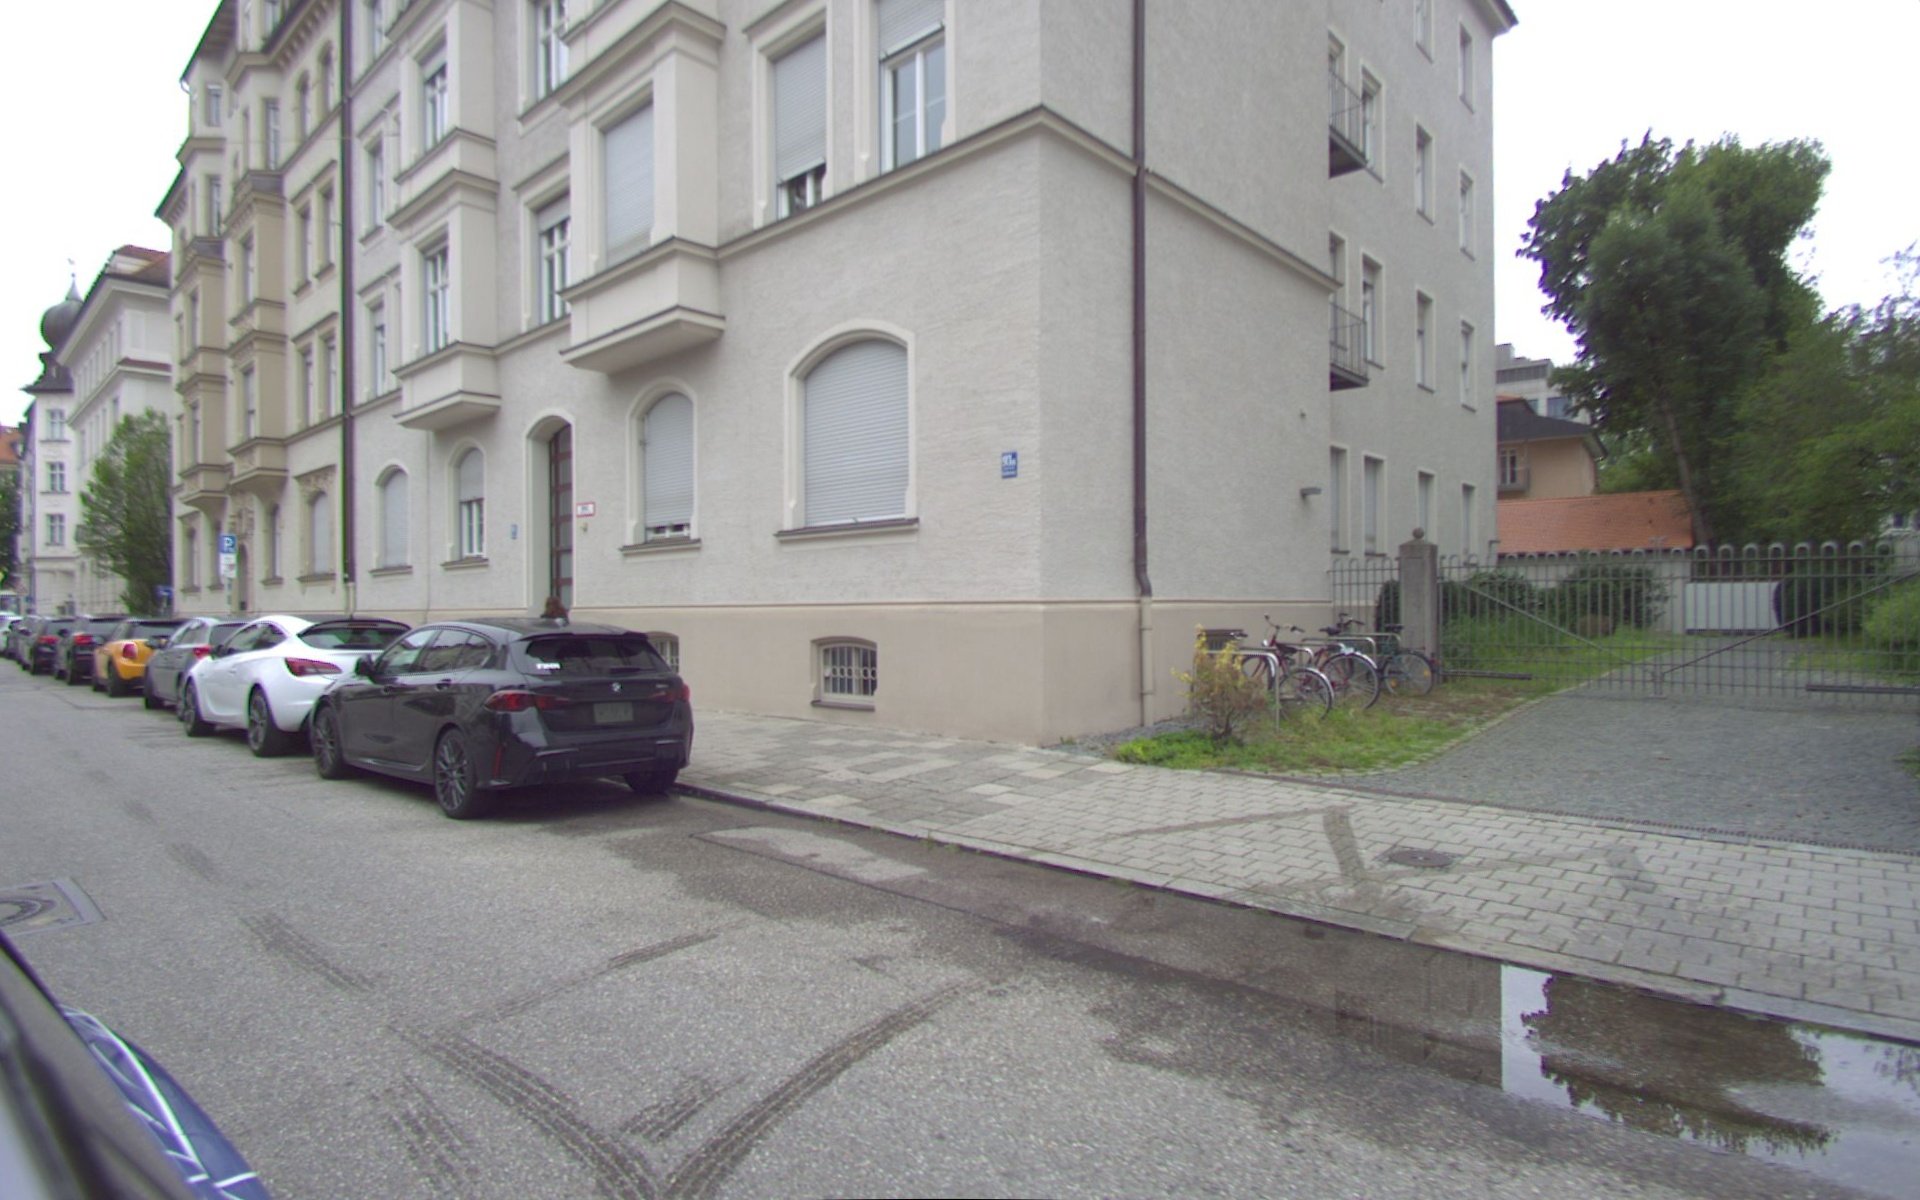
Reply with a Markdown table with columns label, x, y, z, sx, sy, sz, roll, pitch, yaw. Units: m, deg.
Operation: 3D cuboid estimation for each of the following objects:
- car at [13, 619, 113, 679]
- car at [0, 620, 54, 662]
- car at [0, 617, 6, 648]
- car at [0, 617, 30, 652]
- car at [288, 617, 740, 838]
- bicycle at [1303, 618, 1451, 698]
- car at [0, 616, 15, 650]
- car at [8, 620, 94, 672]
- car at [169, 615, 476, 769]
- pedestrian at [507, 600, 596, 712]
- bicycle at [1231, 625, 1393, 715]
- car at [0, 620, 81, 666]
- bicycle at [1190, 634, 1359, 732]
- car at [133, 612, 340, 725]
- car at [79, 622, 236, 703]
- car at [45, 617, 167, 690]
| label | x | y | z | sx | sy | sz | roll | pitch | yaw |
| --- | --- | --- | --- | --- | --- | --- | --- | --- | --- |
| car | -23.162 | 1.204 | 26.081 | 3.942 | 1.440 | 1.605 | -1 | -2 | 44 |
| car | -33.767 | 1.425 | 36.162 | 3.687 | 1.440 | 1.606 | -1 | -2 | 41 |
| car | -48.857 | 1.600 | 50.413 | 3.919 | 1.542 | 1.605 | -1 | -2 | 42 |
| car | -41.275 | 1.464 | 43.555 | 3.690 | 1.440 | 1.604 | -1 | -2 | 44 |
| car | -3.987 | 0.880 | 8.691 | 4.376 | 1.423 | 1.837 | -1 | -2 | 41 |
| bicycle | 5.479 | 0.735 | 13.375 | 0.442 | 0.992 | 1.781 | 0 | 0 | -42 |
| car | -44.903 | 1.520 | 46.674 | 3.688 | 1.542 | 1.605 | -1 | -2 | 42 |
| car | -26.607 | 1.298 | 29.594 | 3.589 | 1.440 | 1.605 | -1 | -2 | 44 |
| car | -7.563 | 0.926 | 11.833 | 4.376 | 1.474 | 1.837 | -1 | -2 | 41 |
| pedestrian | -6.158 | 0.812 | 15.248 | 1.052 | 1.620 | 0.864 | -1 | -1 | 42 |
| bicycle | 4.148 | 0.799 | 12.020 | 1.778 | 0.992 | 0.442 | -1 | 0 | 41 |
| car | -30.293 | 1.372 | 33.244 | 3.687 | 1.440 | 1.606 | -1 | -2 | 41 |
| bicycle | 3.492 | 0.893 | 11.342 | 1.778 | 0.992 | 0.442 | -1 | 0 | 41 |
| car | -10.980 | 0.942 | 15.266 | 3.937 | 1.474 | 1.786 | -1 | -2 | 43 |
| car | -15.204 | 1.106 | 19.111 | 3.730 | 1.373 | 1.786 | -1 | -2 | 43 |
| car | -18.906 | 1.126 | 22.359 | 3.941 | 1.467 | 1.605 | -1 | -2 | 43 |
